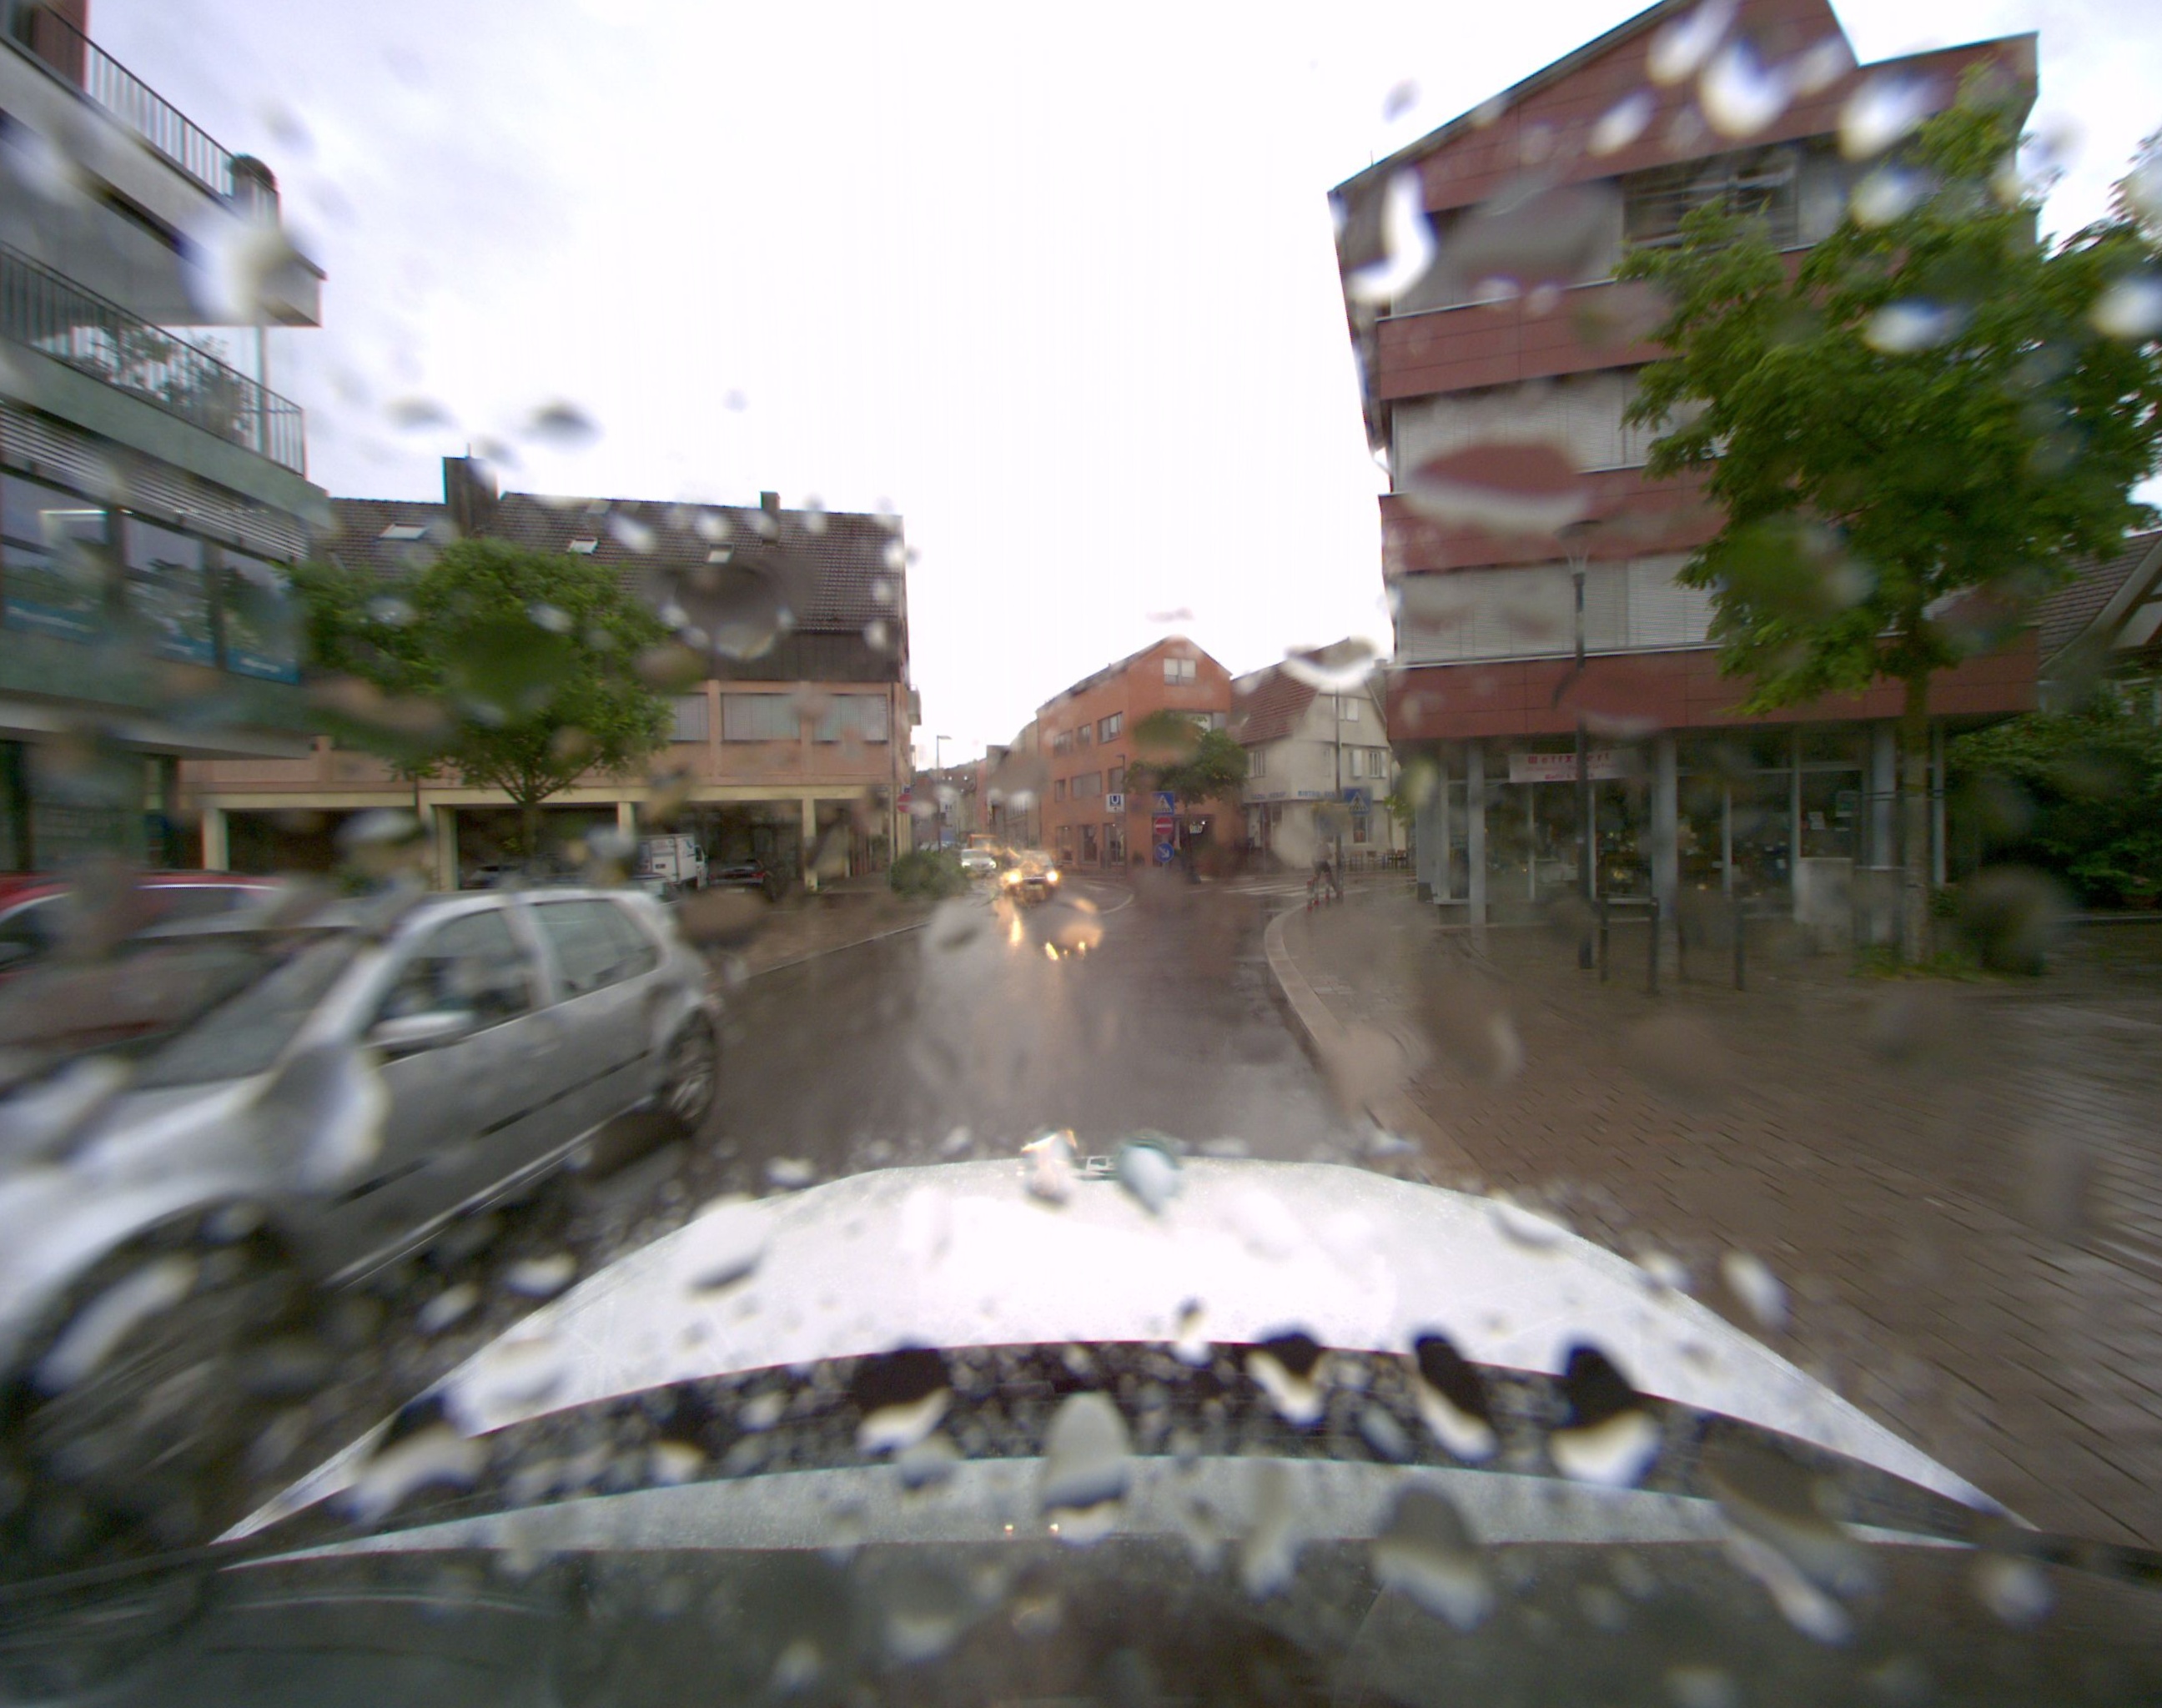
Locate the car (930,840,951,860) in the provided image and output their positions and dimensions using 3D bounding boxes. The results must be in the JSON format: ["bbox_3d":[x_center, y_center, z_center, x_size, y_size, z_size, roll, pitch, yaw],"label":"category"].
[{"bbox_3d":[-15.304,-0.393,89.026,1.992,2.013,4.351,-3,1,-8],"label":"car"}]

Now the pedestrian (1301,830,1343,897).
[{"bbox_3d":[7.075,0.267,23.922,0.762,1.914,0.854,-1,0,-38],"label":"pedestrian"}]

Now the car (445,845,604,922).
[{"bbox_3d":[-15.432,0.743,22.885,1.809,1.617,3.997,-1,5,-4],"label":"car"}]

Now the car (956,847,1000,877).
[{"bbox_3d":[-5.420,0.372,42.506,1.994,1.441,4.148,-2,1,-11],"label":"car"}]

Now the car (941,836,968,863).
[{"bbox_3d":[-11.127,-0.403,71.964,2.103,2.146,4.854,-3,1,-8],"label":"car"}]

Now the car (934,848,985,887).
[{"bbox_3d":[-4.927,0.484,32.647,1.716,1.458,3.893,0,1,-13],"label":"car"}]

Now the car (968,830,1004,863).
[{"bbox_3d":[-6.872,-0.533,58.455,2.105,2.146,4.848,-3,1,-11],"label":"car"}]

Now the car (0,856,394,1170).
[{"bbox_3d":[-6.358,0.833,4.405,1.781,1.576,4.105,-2,0,-1],"label":"car"}]

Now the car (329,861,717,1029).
[{"bbox_3d":[-5.999,0.852,9.435,1.708,1.458,3.912,0,1,2],"label":"car"}]

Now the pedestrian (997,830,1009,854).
[{"bbox_3d":[-6.741,-1.021,70.539,0.867,2.013,0.704,-1,1,-14],"label":"pedestrian"}]

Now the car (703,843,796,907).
[{"bbox_3d":[-9.854,0.554,24.513,1.576,1.478,3.816,-1,5,-7],"label":"car"}]

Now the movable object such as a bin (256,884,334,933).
[{"bbox_3d":[-20.412,1.414,21.182,0.996,1.096,0.925,-3,4,0],"label":"movable object such as a bin"}]

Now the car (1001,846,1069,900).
[{"bbox_3d":[-1.349,0.532,25.234,1.642,1.445,3.986,-3,1,2],"label":"car"}]

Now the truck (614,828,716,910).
[{"bbox_3d":[-12.299,0.367,24.282,1.596,2.062,3.185,-3,5,-8],"label":"truck"}]

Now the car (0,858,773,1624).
[{"bbox_3d":[-2.954,0.809,3.170,1.783,1.417,4.031,-4,0,2],"label":"car"}]
